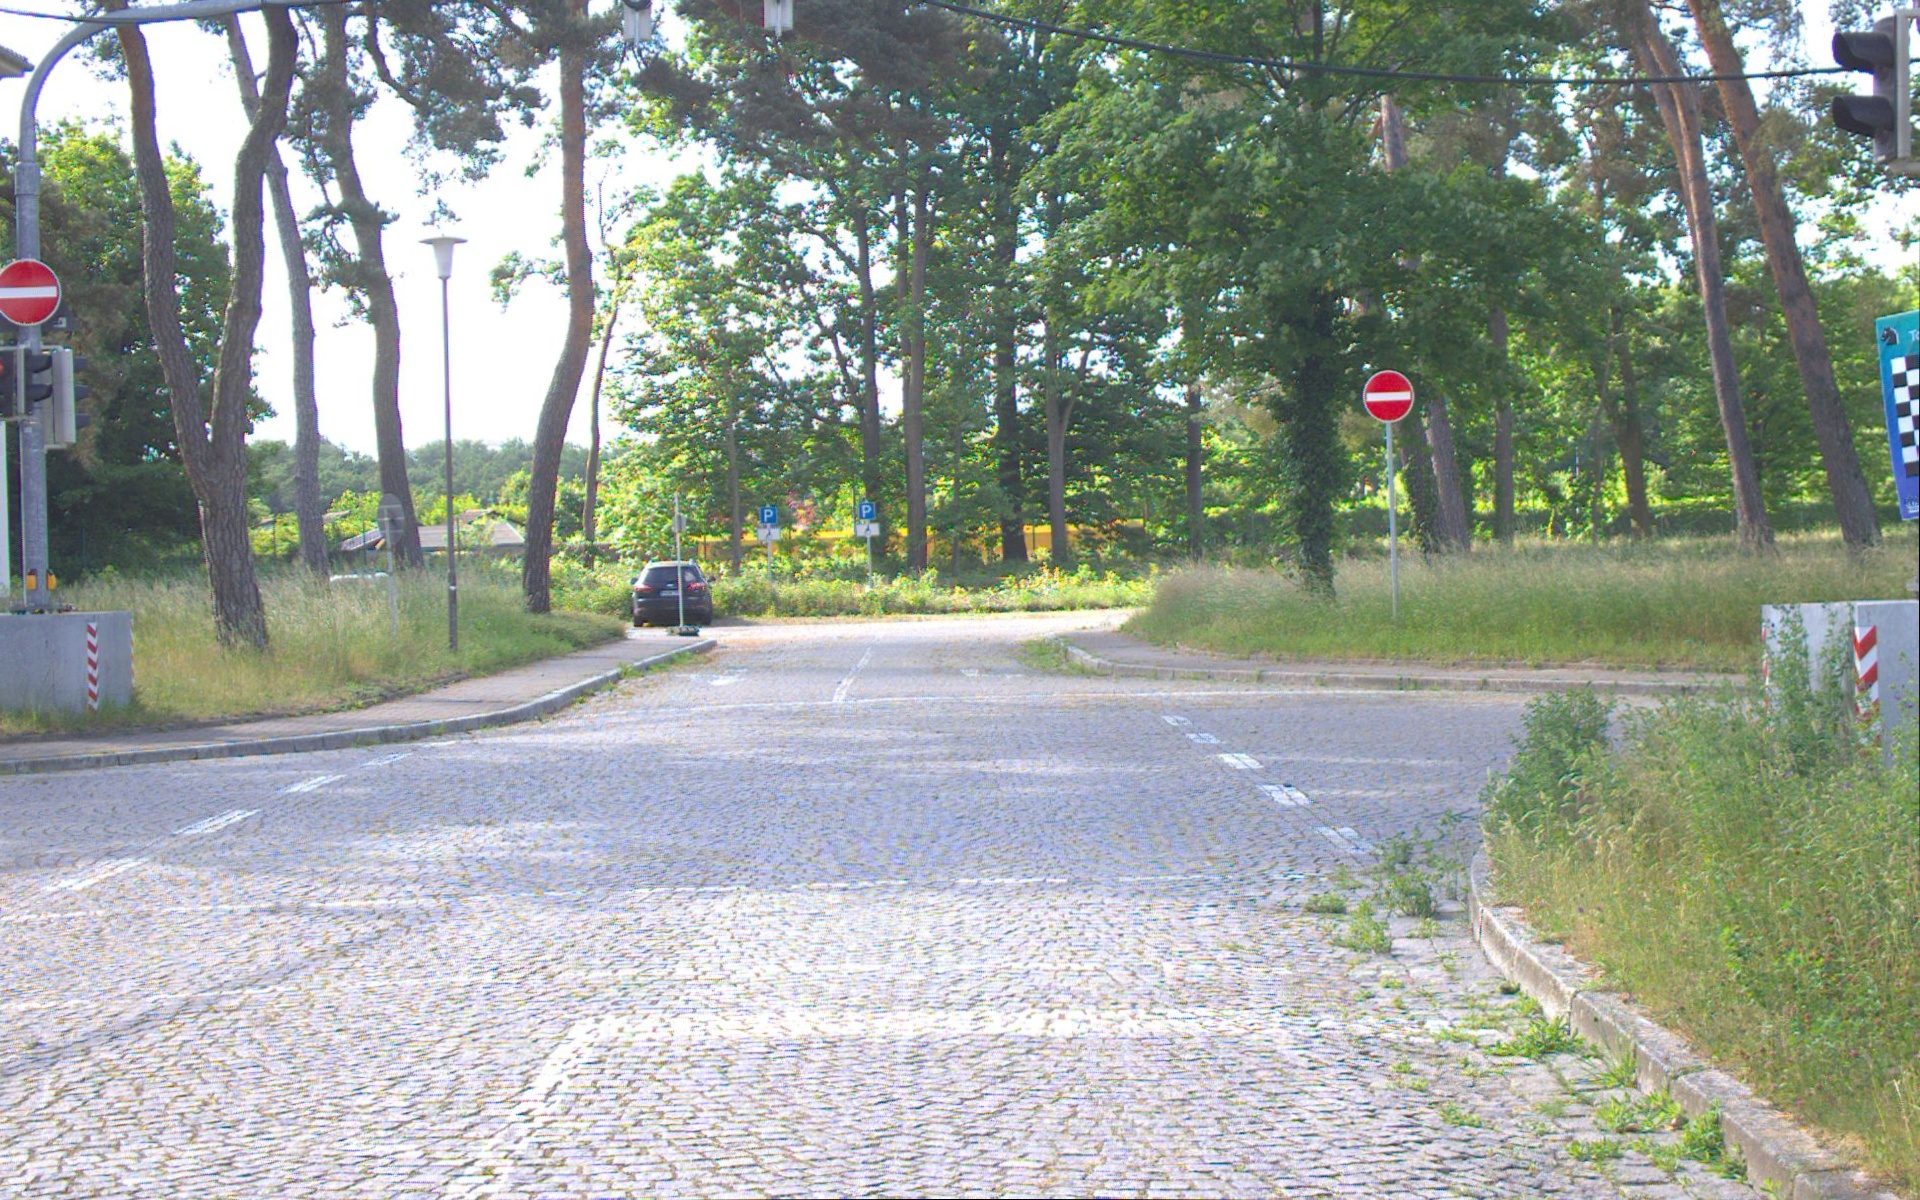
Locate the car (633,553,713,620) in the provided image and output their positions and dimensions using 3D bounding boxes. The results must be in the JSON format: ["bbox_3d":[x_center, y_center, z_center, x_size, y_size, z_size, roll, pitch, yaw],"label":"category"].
[{"bbox_3d":[-6.823,-0.344,81.991,1.709,1.491,3.919,-2,1,-3],"label":"car"}]
